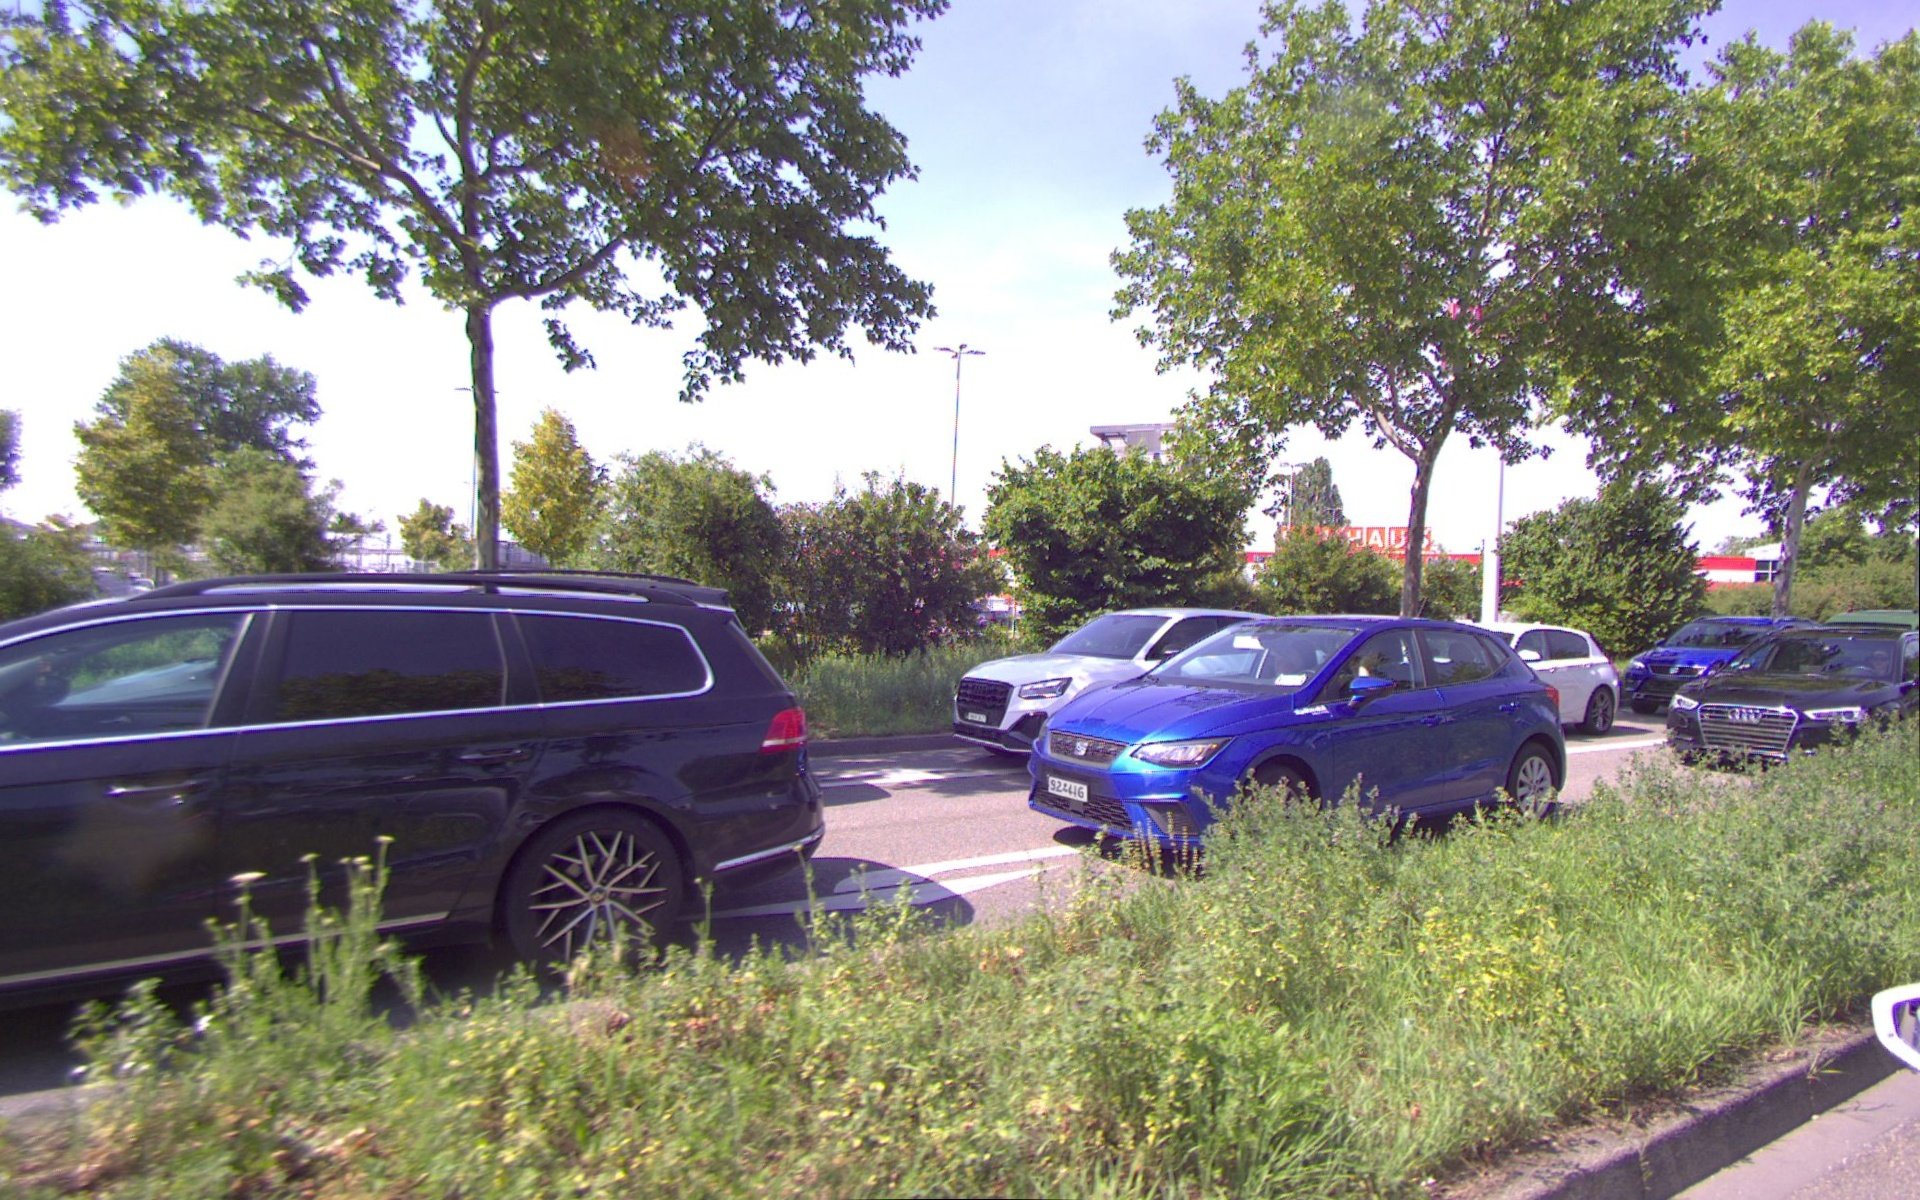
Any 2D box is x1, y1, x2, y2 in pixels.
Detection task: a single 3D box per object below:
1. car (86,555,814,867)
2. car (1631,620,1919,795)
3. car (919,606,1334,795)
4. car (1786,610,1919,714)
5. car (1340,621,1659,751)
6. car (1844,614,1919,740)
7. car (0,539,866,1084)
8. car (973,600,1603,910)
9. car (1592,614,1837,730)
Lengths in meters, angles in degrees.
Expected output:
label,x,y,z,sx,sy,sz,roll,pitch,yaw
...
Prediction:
label,x,y,z,sx,sy,sz,roll,pitch,yaw
car,-3.292,0.640,7.155,4.129,1.668,1.681,1,-1,-31
car,9.167,0.986,10.597,4.400,1.485,1.814,1,-1,-32
car,1.707,0.868,9.957,3.893,1.550,1.681,1,-1,-30
car,18.372,1.203,20.015,3.989,1.883,1.681,2,-1,-30
car,7.239,1.045,13.363,4.377,1.470,1.723,1,-1,-31
car,14.678,1.057,14.191,4.950,1.629,1.838,1,-1,-31
car,-2.890,0.614,3.779,4.771,1.550,1.749,1,-1,-31
car,2.315,0.802,6.760,4.164,1.509,1.775,1,-1,-32
car,12.279,1.093,16.283,4.261,1.653,1.681,1,-1,-31
